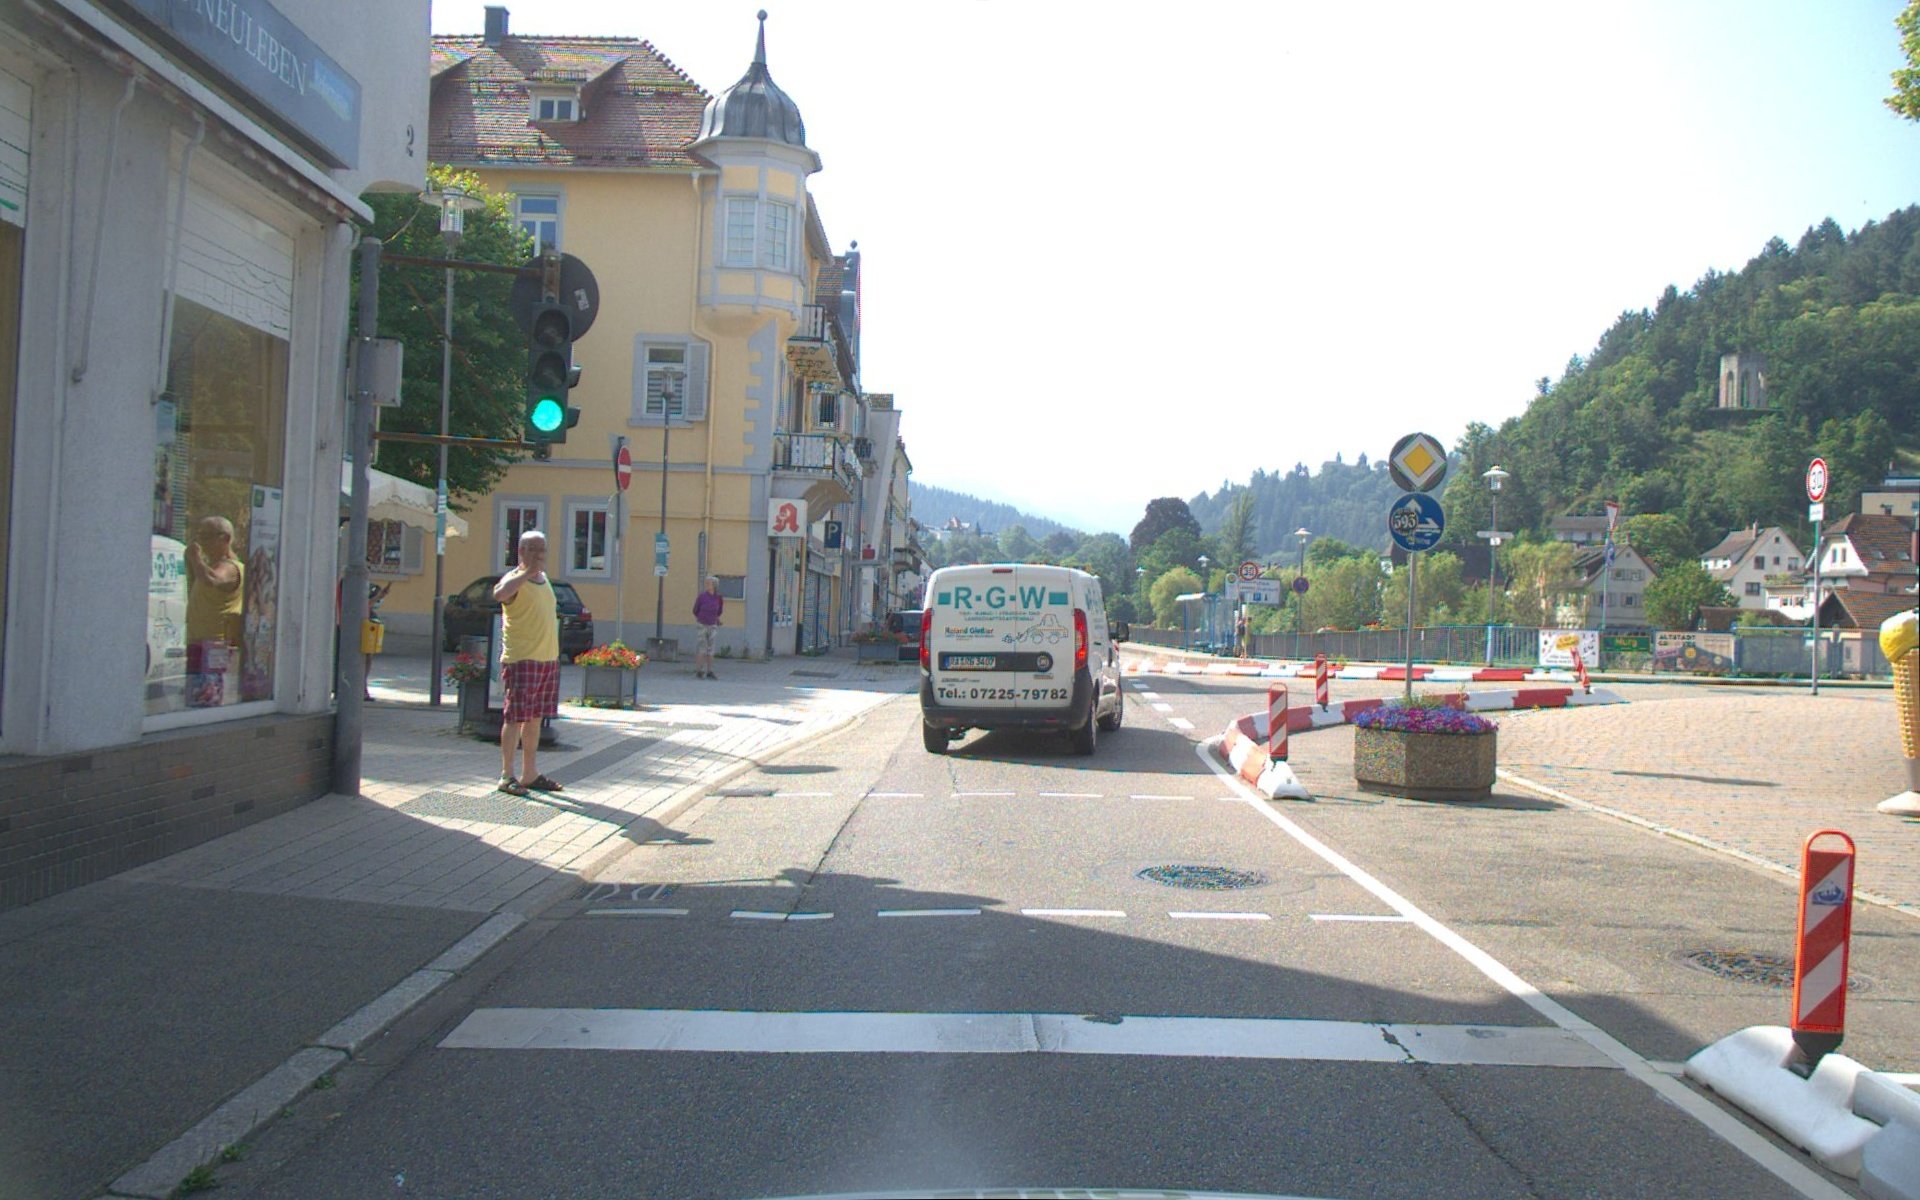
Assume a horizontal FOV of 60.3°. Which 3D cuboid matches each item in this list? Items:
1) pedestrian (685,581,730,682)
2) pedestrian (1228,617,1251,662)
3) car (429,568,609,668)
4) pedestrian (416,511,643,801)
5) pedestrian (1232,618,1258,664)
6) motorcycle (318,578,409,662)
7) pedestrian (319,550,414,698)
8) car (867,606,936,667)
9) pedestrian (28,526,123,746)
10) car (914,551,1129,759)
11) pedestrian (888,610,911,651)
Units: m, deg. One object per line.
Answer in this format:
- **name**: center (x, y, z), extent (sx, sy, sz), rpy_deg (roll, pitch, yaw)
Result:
- **pedestrian**: center (-4.445, 0.546, 29.201), extent (0.664, 1.744, 0.617), rpy_deg (2, 0, -4)
- **pedestrian**: center (11.044, 1.552, 65.334), extent (0.773, 1.736, 0.492), rpy_deg (2, -1, 2)
- **car**: center (-8.299, 0.308, 30.926), extent (1.902, 1.569, 3.909), rpy_deg (3, 1, -36)
- **pedestrian**: center (-2.995, 0.386, 11.563), extent (0.998, 1.846, 0.907), rpy_deg (6, -1, 25)
- **pedestrian**: center (11.128, 1.603, 64.681), extent (0.849, 1.736, 0.777), rpy_deg (2, -1, 2)
- **motorcycle**: center (-10.633, 0.327, 29.576), extent (0.867, 1.384, 2.087), rpy_deg (2, 2, -1)
- **pedestrian**: center (-7.022, 0.296, 19.596), extent (0.558, 1.687, 0.884), rpy_deg (2, -3, 13)
- **car**: center (-1.615, 1.013, 46.622), extent (1.809, 1.596, 3.567), rpy_deg (1, -1, -1)
- **pedestrian**: center (-8.343, 0.342, 15.624), extent (0.641, 2.020, 0.703), rpy_deg (2, -1, -21)
- **car**: center (0.800, 0.528, 17.947), extent (1.805, 1.939, 4.318), rpy_deg (1, 0, 9)
- **pedestrian**: center (-2.569, 1.303, 70.323), extent (0.675, 1.726, 0.659), rpy_deg (1, -1, 27)
